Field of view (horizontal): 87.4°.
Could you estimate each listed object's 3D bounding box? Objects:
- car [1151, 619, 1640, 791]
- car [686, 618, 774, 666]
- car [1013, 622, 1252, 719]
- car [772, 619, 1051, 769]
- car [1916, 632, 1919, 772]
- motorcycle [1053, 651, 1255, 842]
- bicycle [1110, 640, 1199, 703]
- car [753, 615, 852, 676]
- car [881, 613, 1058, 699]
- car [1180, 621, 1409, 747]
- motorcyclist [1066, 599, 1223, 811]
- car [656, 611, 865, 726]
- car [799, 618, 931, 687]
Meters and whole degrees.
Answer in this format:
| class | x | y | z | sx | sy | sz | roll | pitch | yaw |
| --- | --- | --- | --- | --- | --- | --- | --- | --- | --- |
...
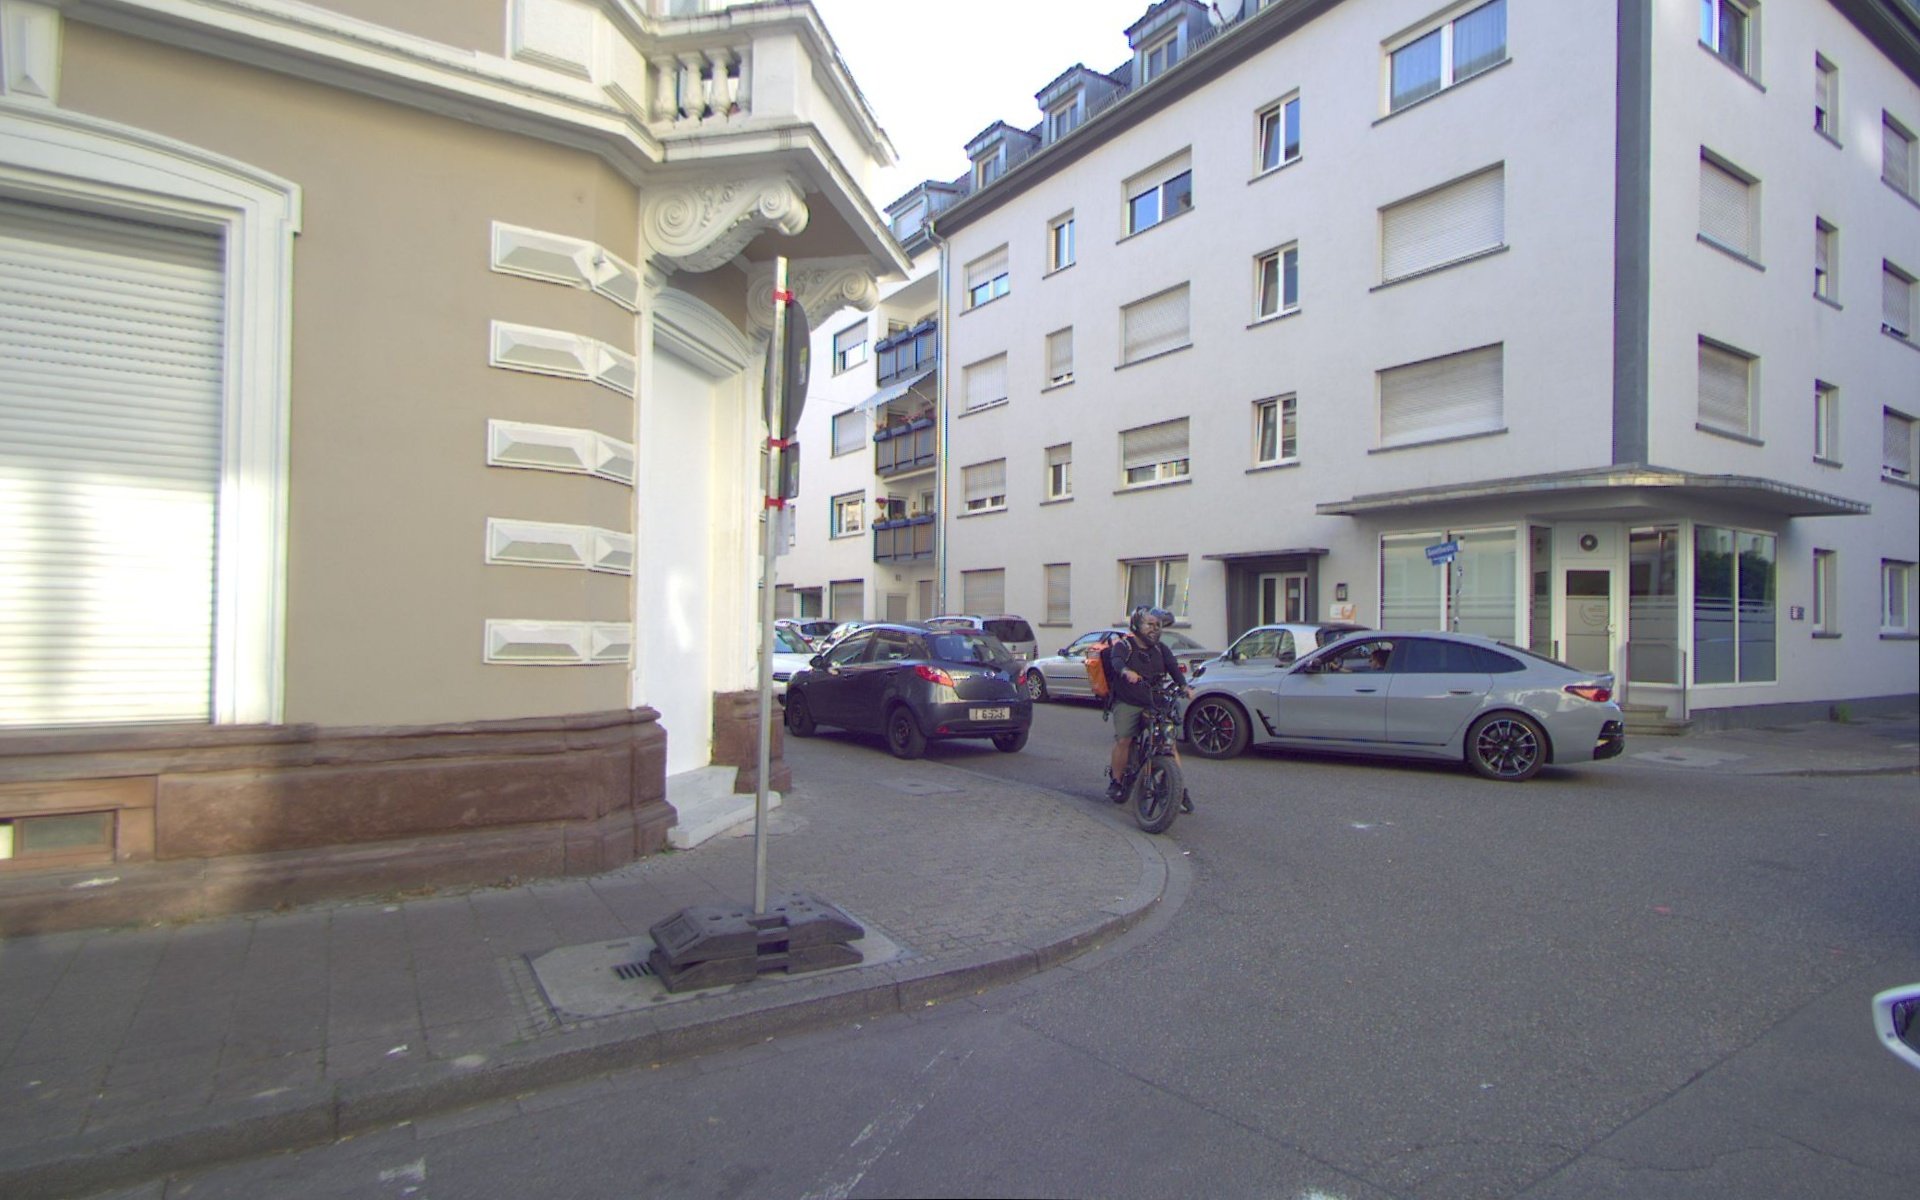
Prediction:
| class | x | y | z | sx | sy | sz | roll | pitch | yaw |
| --- | --- | --- | --- | --- | --- | --- | --- | --- | --- |
| car | 4.631 | 1.010 | 11.170 | 4.575 | 1.506 | 1.998 | 1 | -1 | 25 |
| car | -7.961 | 1.405 | 34.499 | 1.574 | 1.507 | 3.944 | 2 | -1 | -35 |
| car | 2.985 | 1.174 | 18.219 | 1.947 | 1.472 | 4.226 | 2 | -1 | -32 |
| car | -0.716 | 1.010 | 12.248 | 1.672 | 1.499 | 3.551 | 2 | -1 | -37 |
| car | 12.513 | 1.143 | 10.951 | 3.952 | 1.506 | 1.984 | 2 | -1 | -30 |
| motorcycle | 1.528 | 1.110 | 8.217 | 0.796 | 1.266 | 1.688 | 0 | 1 | -24 |
| bicycle | 3.997 | 1.454 | 20.811 | 0.484 | 1.152 | 2.038 | 2 | 0 | -34 |
| car | -4.751 | 1.314 | 29.976 | 1.641 | 1.666 | 3.574 | 1 | -1 | -33 |
| car | 0.110 | 1.146 | 22.132 | 1.979 | 1.675 | 4.055 | 2 | -1 | -34 |
| car | 4.752 | 1.122 | 14.515 | 1.630 | 1.586 | 2.740 | 1 | -1 | -32 |
| motorcyclist | 1.492 | 0.797 | 8.249 | 0.862 | 1.589 | 0.993 | 0 | 1 | -25 |
| car | -3.327 | 0.991 | 16.159 | 1.817 | 1.581 | 4.053 | 2 | -1 | -35 |
| car | -2.533 | 1.298 | 26.009 | 1.611 | 1.581 | 4.053 | 1 | -1 | -35 |
